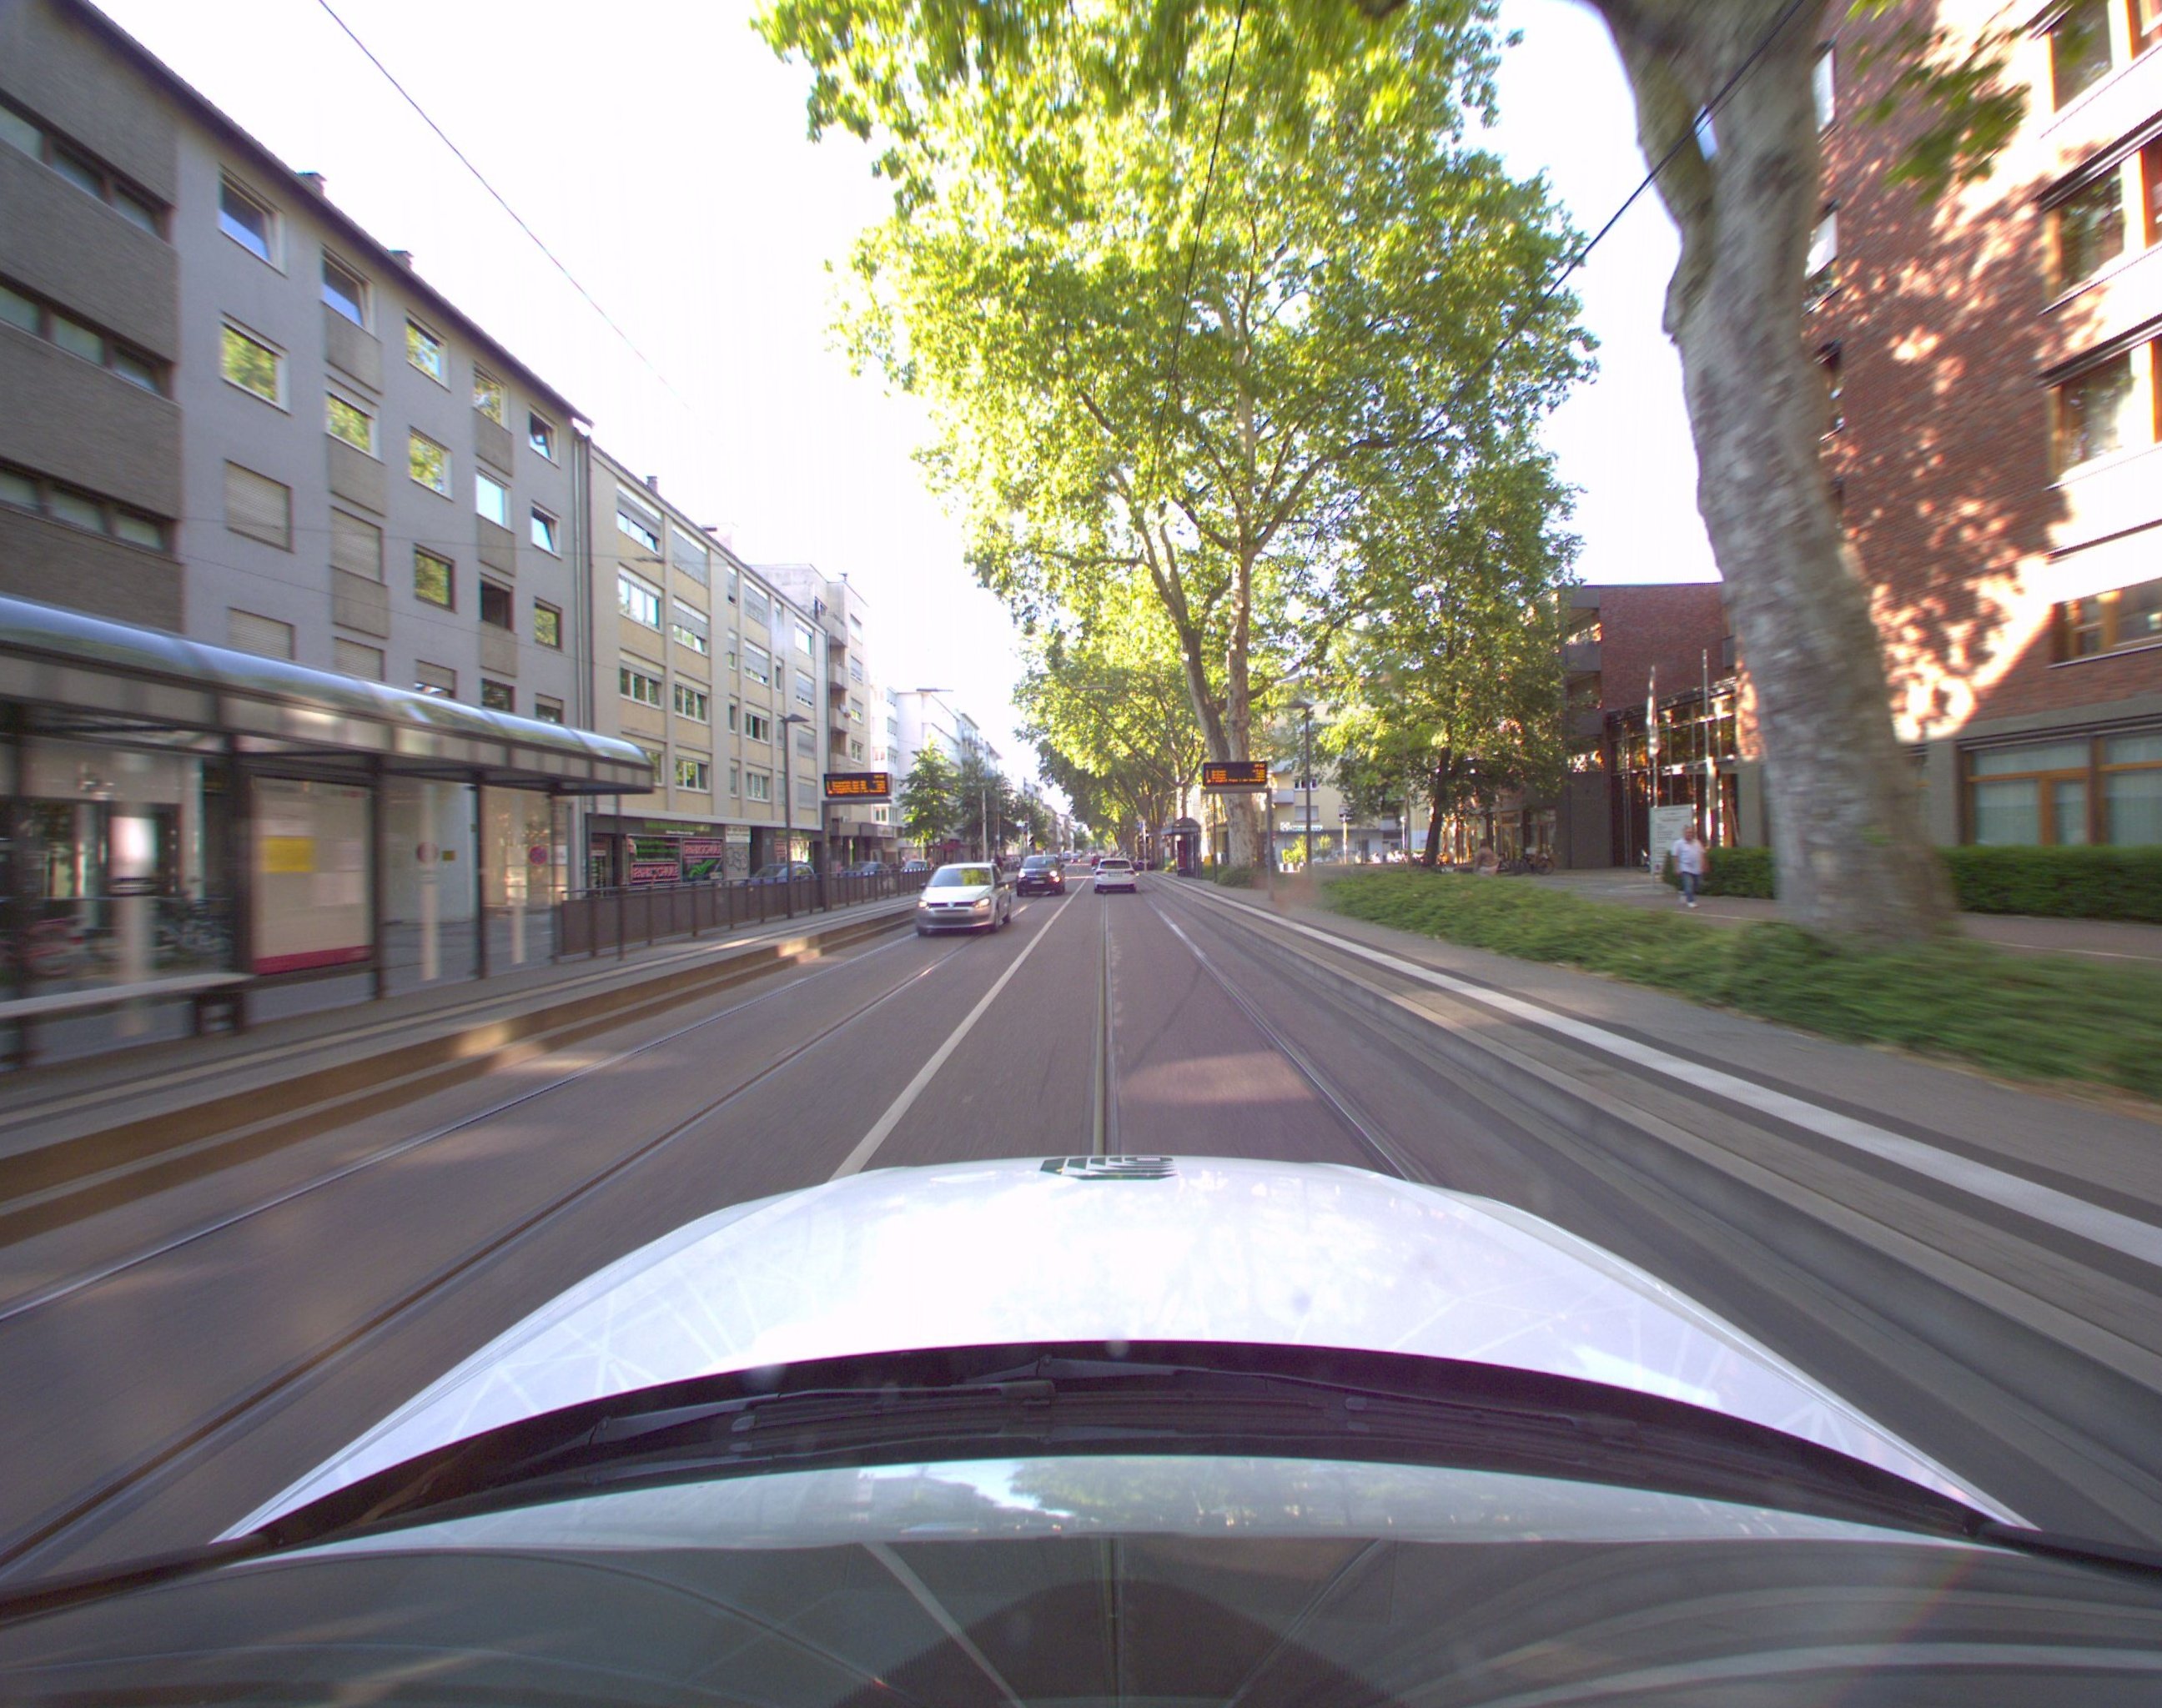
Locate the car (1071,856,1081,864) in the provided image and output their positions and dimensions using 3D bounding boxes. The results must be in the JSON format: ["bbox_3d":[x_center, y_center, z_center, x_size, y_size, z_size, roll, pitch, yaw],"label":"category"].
[{"bbox_3d":[-1.029,1.196,164.694,1.782,1.513,4.001,-2,0,2],"label":"car"}]

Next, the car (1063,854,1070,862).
[{"bbox_3d":[-4.156,1.163,232.404,1.984,2.074,4.001,-2,0,1],"label":"car"}]

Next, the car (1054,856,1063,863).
[{"bbox_3d":[-5.159,1.345,187.572,1.782,1.513,4.001,-2,0,2],"label":"car"}]

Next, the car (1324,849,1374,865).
[{"bbox_3d":[24.166,0.248,73.576,3.971,1.372,1.868,-2,0,2],"label":"car"}]

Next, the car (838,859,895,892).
[{"bbox_3d":[-10.760,1.053,41.120,1.672,1.548,4.001,1,0,1],"label":"car"}]

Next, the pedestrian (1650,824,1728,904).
[{"bbox_3d":[12.855,0.209,17.248,0.969,1.623,0.888,-2,0,1],"label":"pedestrian"}]

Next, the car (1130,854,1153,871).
[{"bbox_3d":[5.736,0.794,77.171,1.986,1.453,4.001,-2,0,1],"label":"car"}]

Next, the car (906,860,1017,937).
[{"bbox_3d":[-2.484,0.883,17.862,1.687,1.419,4.001,-2,0,2],"label":"car"}]

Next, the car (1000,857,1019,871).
[{"bbox_3d":[-8.304,1.140,95.058,1.672,1.548,4.001,1,0,1],"label":"car"}]

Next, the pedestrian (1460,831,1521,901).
[{"bbox_3d":[9.824,0.277,19.569,0.969,1.623,0.888,-2,0,1],"label":"pedestrian"}]

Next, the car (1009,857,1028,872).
[{"bbox_3d":[-6.683,1.085,87.272,1.672,1.548,4.001,1,0,1],"label":"car"}]

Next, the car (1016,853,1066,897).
[{"bbox_3d":[-1.561,0.792,33.232,1.687,1.644,4.001,-2,0,2],"label":"car"}]

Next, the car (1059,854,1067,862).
[{"bbox_3d":[-4.774,1.120,214.500,1.984,2.074,4.001,-2,0,1],"label":"car"}]

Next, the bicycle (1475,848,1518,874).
[{"bbox_3d":[17.346,0.304,34.038,1.552,1.037,0.482,-2,0,22],"label":"bicycle"}]

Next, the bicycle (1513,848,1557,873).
[{"bbox_3d":[18.947,0.270,34.028,1.552,1.037,0.482,-2,0,24],"label":"bicycle"}]

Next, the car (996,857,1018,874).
[{"bbox_3d":[-7.143,1.074,78.764,1.672,1.548,4.001,1,0,1],"label":"car"}]

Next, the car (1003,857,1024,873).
[{"bbox_3d":[-6.827,1.077,83.078,1.672,1.548,4.001,1,0,1],"label":"car"}]

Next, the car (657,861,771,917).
[{"bbox_3d":[-11.251,1.013,25.260,1.587,1.548,4.001,1,0,2],"label":"car"}]

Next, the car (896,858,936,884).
[{"bbox_3d":[-10.728,1.084,53.282,1.672,1.548,4.001,1,0,1],"label":"car"}]

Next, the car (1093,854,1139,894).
[{"bbox_3d":[1.443,0.802,34.136,1.782,1.513,4.001,-2,0,2],"label":"car"}]

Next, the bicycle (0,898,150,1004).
[{"bbox_3d":[-12.171,1.084,9.362,2.244,1.074,0.637,2,0,2],"label":"bicycle"}]

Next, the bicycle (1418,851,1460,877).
[{"bbox_3d":[14.943,0.403,34.000,1.552,1.037,0.482,-2,0,22],"label":"bicycle"}]

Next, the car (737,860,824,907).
[{"bbox_3d":[-10.952,1.026,29.978,1.587,1.548,4.001,1,0,2],"label":"car"}]

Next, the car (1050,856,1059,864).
[{"bbox_3d":[-5.553,1.310,171.578,1.782,1.513,4.001,-2,0,2],"label":"car"}]

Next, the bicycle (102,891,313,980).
[{"bbox_3d":[-11.970,1.099,11.190,2.244,1.074,0.637,2,0,2],"label":"bicycle"}]

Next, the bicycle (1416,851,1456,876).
[{"bbox_3d":[15.182,0.400,34.870,1.552,1.037,0.507,-2,0,22],"label":"bicycle"}]

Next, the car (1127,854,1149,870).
[{"bbox_3d":[5.703,0.808,82.261,1.986,1.453,4.001,-2,0,1],"label":"car"}]

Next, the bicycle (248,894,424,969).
[{"bbox_3d":[-11.921,1.225,13.066,2.244,1.074,0.637,2,0,2],"label":"bicycle"}]

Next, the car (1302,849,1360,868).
[{"bbox_3d":[19.329,0.320,63.189,3.970,1.372,1.869,-2,0,3],"label":"car"}]

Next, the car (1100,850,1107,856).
[{"bbox_3d":[6.825,-0.355,245.580,1.859,1.892,4.001,-2,0,1],"label":"car"}]

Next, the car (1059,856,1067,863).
[{"bbox_3d":[-4.655,1.379,205.786,1.782,1.513,4.001,-2,0,2],"label":"car"}]

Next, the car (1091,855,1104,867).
[{"bbox_3d":[2.321,0.997,114.009,1.782,1.513,4.001,-2,0,2],"label":"car"}]
